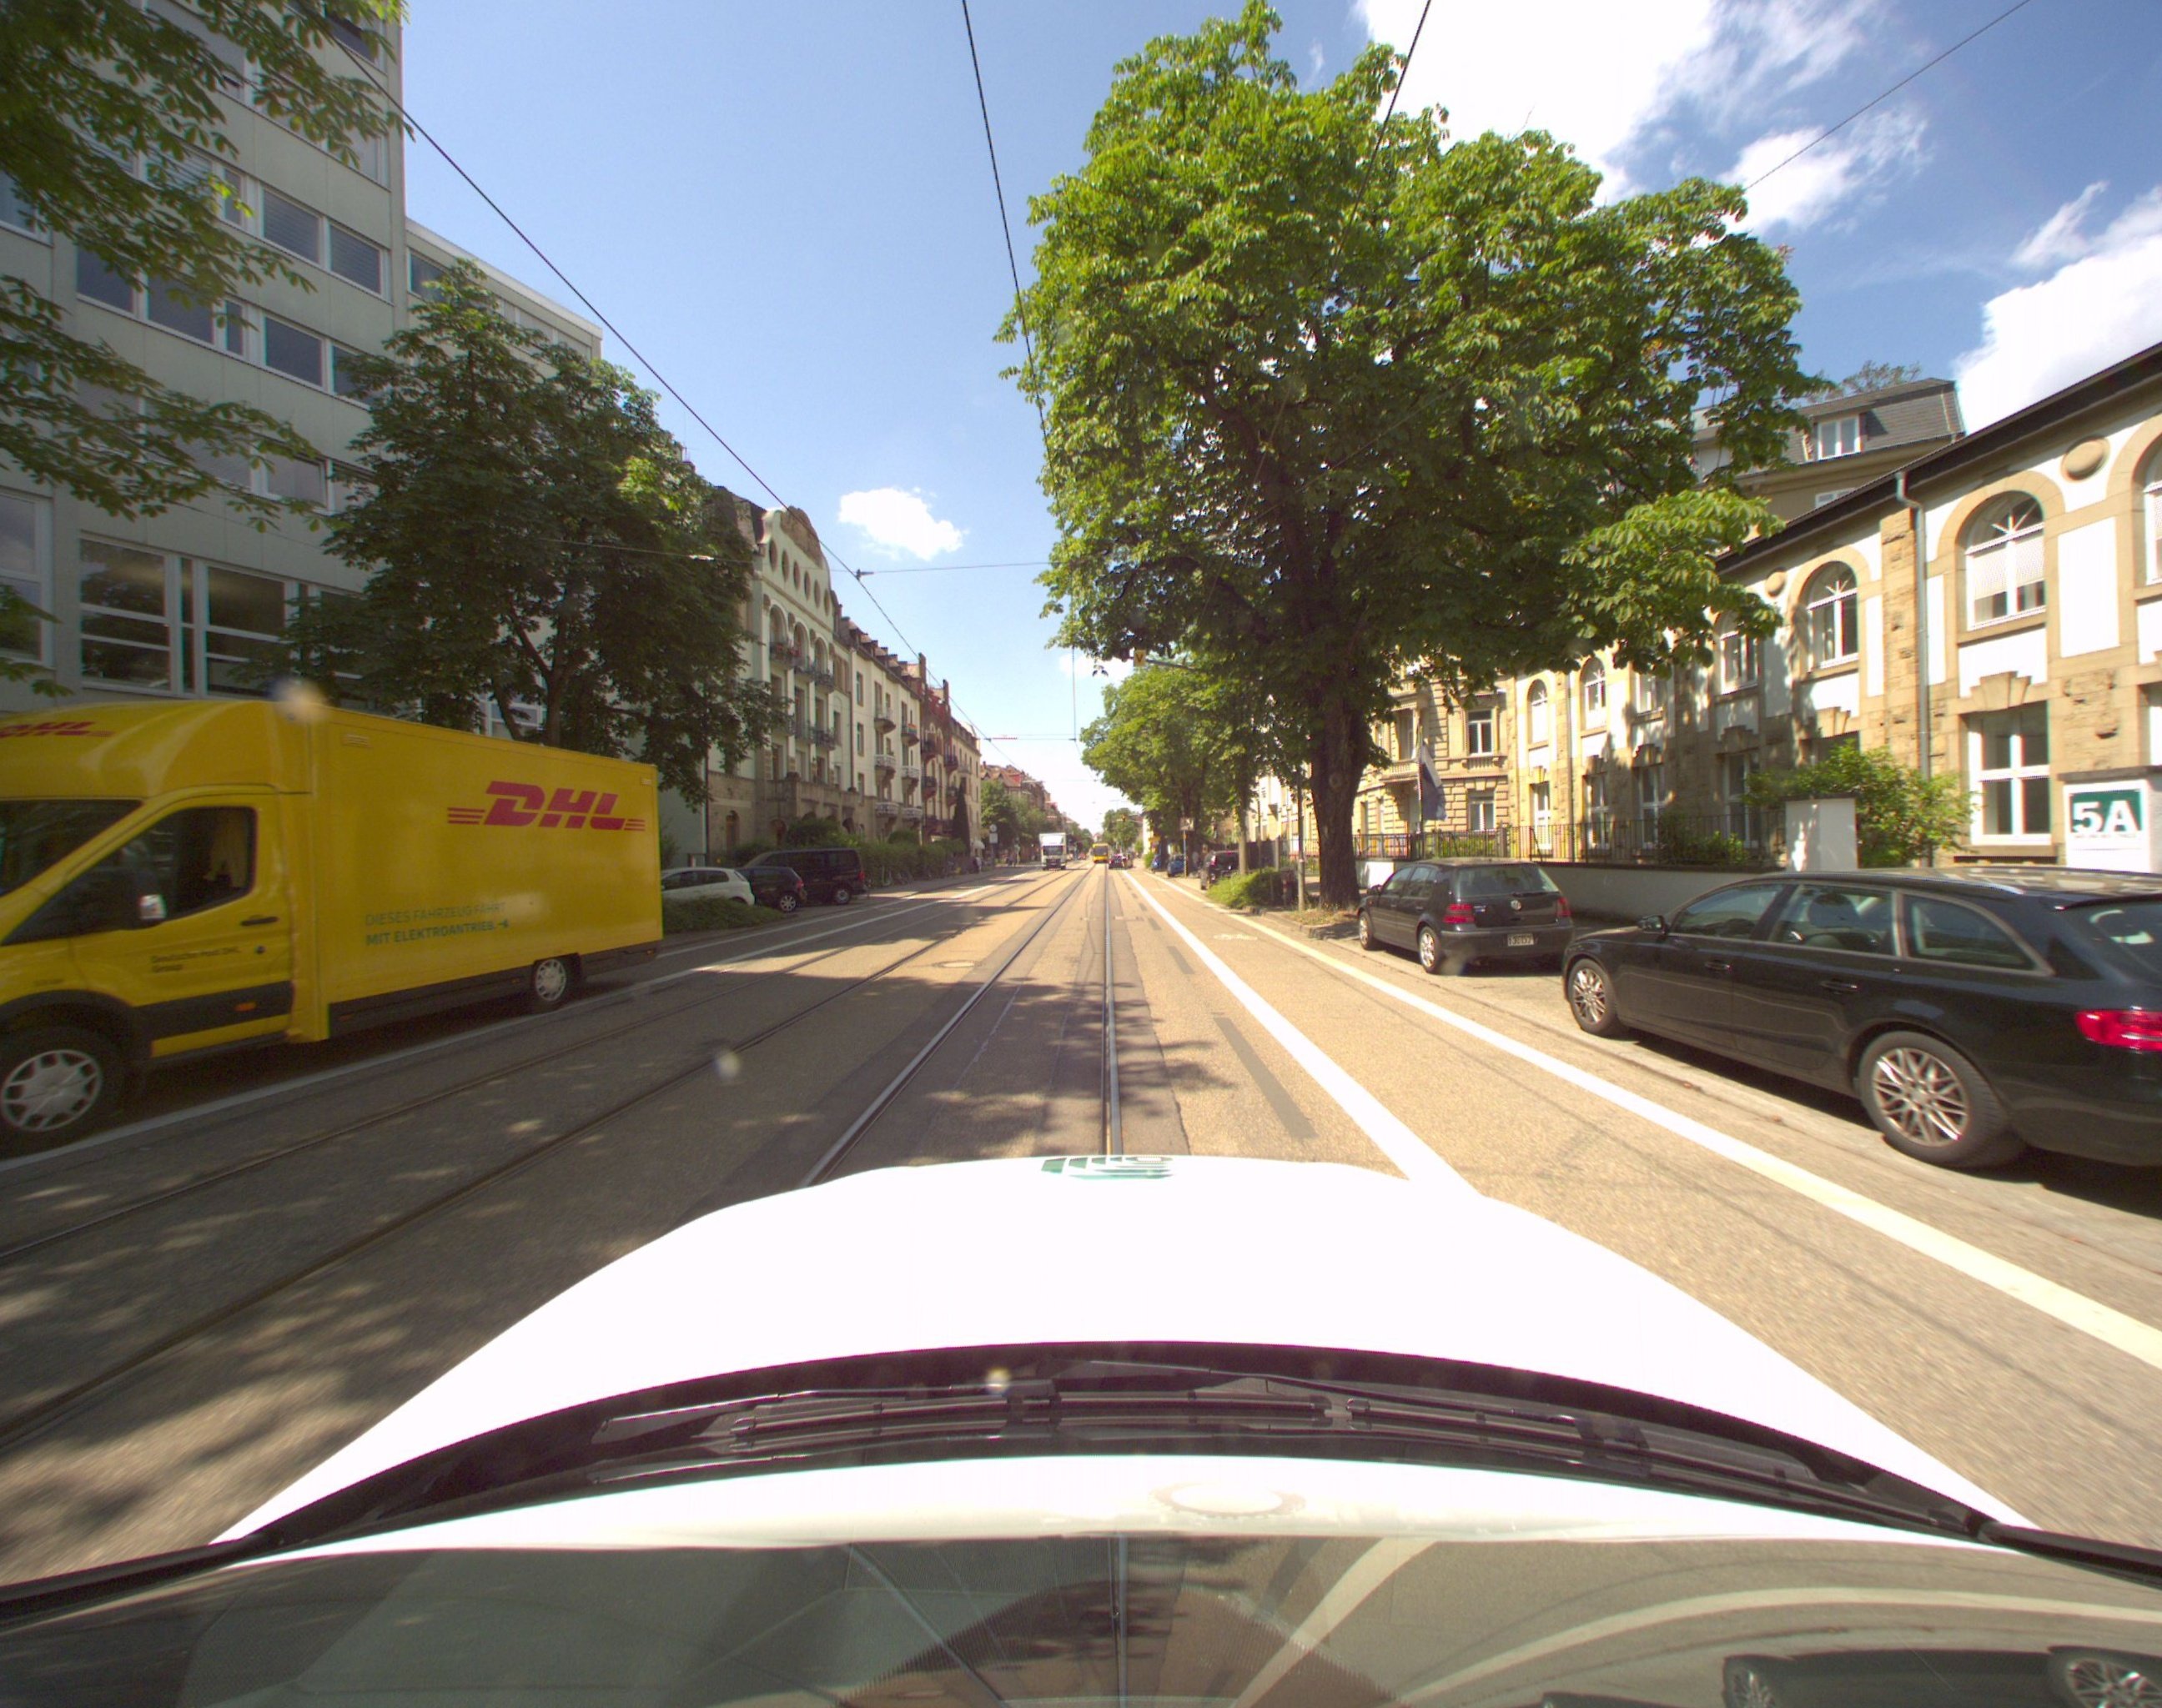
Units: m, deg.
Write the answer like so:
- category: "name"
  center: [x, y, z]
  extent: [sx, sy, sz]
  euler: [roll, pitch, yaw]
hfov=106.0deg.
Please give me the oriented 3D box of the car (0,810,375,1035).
- category: "car"
  center: [-10.524, 0.654, 8.347]
  extent: [4.785, 2.062, 2.003]
  euler: [-3, 0, -38]

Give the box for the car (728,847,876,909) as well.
- category: "car"
  center: [-9.558, 0.786, 28.073]
  extent: [4.508, 1.940, 1.685]
  euler: [-1, -1, -37]

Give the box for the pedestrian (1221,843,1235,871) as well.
- category: "pedestrian"
  center: [10.034, 0.194, 55.518]
  extent: [0.806, 1.860, 0.623]
  euler: [-1, -2, -1]

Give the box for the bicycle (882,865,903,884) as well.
- category: "bicycle"
  center: [-9.540, 1.030, 41.236]
  extent: [0.541, 0.969, 1.823]
  euler: [0, -1, 2]

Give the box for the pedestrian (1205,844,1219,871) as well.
- category: "pedestrian"
  center: [8.975, 0.235, 55.918]
  extent: [0.806, 1.860, 0.576]
  euler: [-1, -2, -1]

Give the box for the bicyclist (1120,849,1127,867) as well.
- category: "bicyclist"
  center: [3.812, 0.384, 73.032]
  extent: [0.619, 1.616, 0.866]
  euler: [0, -2, 5]

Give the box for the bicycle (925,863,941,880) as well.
- category: "bicycle"
  center: [-9.158, 1.065, 50.371]
  extent: [0.541, 0.969, 1.991]
  euler: [0, 1, 2]

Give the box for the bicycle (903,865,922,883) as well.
- category: "bicycle"
  center: [-9.365, 1.090, 45.237]
  extent: [0.541, 0.969, 1.990]
  euler: [0, -1, 2]

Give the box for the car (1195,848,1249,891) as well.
- category: "car"
  center: [5.817, 0.615, 33.909]
  extent: [1.586, 1.616, 3.908]
  euler: [-2, 0, 1]

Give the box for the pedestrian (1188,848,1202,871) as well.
- category: "pedestrian"
  center: [7.963, 0.380, 56.816]
  extent: [0.802, 1.530, 0.626]
  euler: [-2, -2, 19]

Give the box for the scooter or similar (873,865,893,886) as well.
- category: "scooter or similar"
  center: [-9.610, 1.053, 39.606]
  extent: [0.541, 0.969, 1.500]
  euler: [0, 0, 2]

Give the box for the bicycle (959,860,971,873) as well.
- category: "bicycle"
  center: [-8.903, 0.923, 62.558]
  extent: [0.541, 0.969, 1.782]
  euler: [0, 0, 2]

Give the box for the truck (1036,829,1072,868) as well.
- category: "truck"
  center: [-2.624, -0.550, 81.495]
  extent: [2.928, 3.550, 8.456]
  euler: [-1, 0, 2]

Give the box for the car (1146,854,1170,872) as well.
- category: "car"
  center: [6.709, 0.771, 71.284]
  extent: [1.705, 1.423, 4.310]
  euler: [-2, 0, 1]

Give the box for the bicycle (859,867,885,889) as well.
- category: "bicycle"
  center: [-9.637, 1.092, 37.655]
  extent: [0.541, 0.969, 2.250]
  euler: [0, 0, 2]

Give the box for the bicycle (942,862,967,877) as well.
- category: "bicycle"
  center: [-8.205, 1.005, 52.945]
  extent: [0.538, 0.969, 1.792]
  euler: [-1, -2, 31]

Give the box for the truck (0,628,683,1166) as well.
- category: "truck"
  center: [-6.761, 0.234, 7.288]
  extent: [2.351, 2.852, 7.384]
  euler: [-2, 0, 3]

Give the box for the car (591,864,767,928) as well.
- category: "car"
  center: [-10.570, 1.046, 21.557]
  extent: [3.834, 1.456, 1.683]
  euler: [-1, -1, -44]

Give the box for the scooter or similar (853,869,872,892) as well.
- category: "scooter or similar"
  center: [-9.573, 1.172, 35.742]
  extent: [0.541, 0.969, 0.958]
  euler: [0, 0, 2]

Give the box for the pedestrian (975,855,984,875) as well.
- category: "pedestrian"
  center: [-8.152, 0.883, 65.638]
  extent: [0.570, 1.615, 0.817]
  euler: [-1, 0, 2]

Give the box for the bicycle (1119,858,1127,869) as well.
- category: "bicycle"
  center: [3.800, 0.832, 72.942]
  extent: [0.636, 0.969, 1.783]
  euler: [0, -1, 5]

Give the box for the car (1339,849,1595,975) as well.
- category: "car"
  center: [5.223, 0.697, 11.726]
  extent: [1.705, 1.423, 4.244]
  euler: [-2, 0, 1]

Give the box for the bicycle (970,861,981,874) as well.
- category: "bicycle"
  center: [-8.669, 1.090, 66.954]
  extent: [0.541, 0.969, 1.782]
  euler: [0, 1, 2]

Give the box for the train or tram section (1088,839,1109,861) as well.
- category: "train or tram section"
  center: [2.923, -0.626, 130.585]
  extent: [3.023, 3.438, 11.977]
  euler: [-1, 0, 2]

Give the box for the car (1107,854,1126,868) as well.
- category: "car"
  center: [3.408, 0.650, 79.139]
  extent: [1.774, 1.345, 3.417]
  euler: [-1, 0, 2]

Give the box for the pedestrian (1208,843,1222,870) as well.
- category: "pedestrian"
  center: [9.444, 0.176, 57.487]
  extent: [0.806, 1.860, 0.623]
  euler: [-1, -2, -1]

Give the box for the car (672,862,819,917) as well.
- category: "car"
  center: [-10.196, 1.043, 24.849]
  extent: [3.830, 1.456, 1.615]
  euler: [-1, -1, -39]

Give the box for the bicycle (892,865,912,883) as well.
- category: "bicycle"
  center: [-9.461, 1.050, 43.208]
  extent: [0.541, 0.969, 1.991]
  euler: [0, -1, 2]

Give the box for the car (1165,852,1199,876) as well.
- category: "car"
  center: [6.505, 0.624, 53.004]
  extent: [1.705, 1.423, 4.310]
  euler: [-2, 0, 1]

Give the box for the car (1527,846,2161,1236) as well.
- category: "car"
  center: [5.077, 0.718, 5.378]
  extent: [1.869, 1.455, 4.530]
  euler: [-2, 0, 2]

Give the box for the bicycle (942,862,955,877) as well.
- category: "bicycle"
  center: [-9.081, 1.077, 55.855]
  extent: [0.541, 0.969, 1.782]
  euler: [0, 1, 2]
